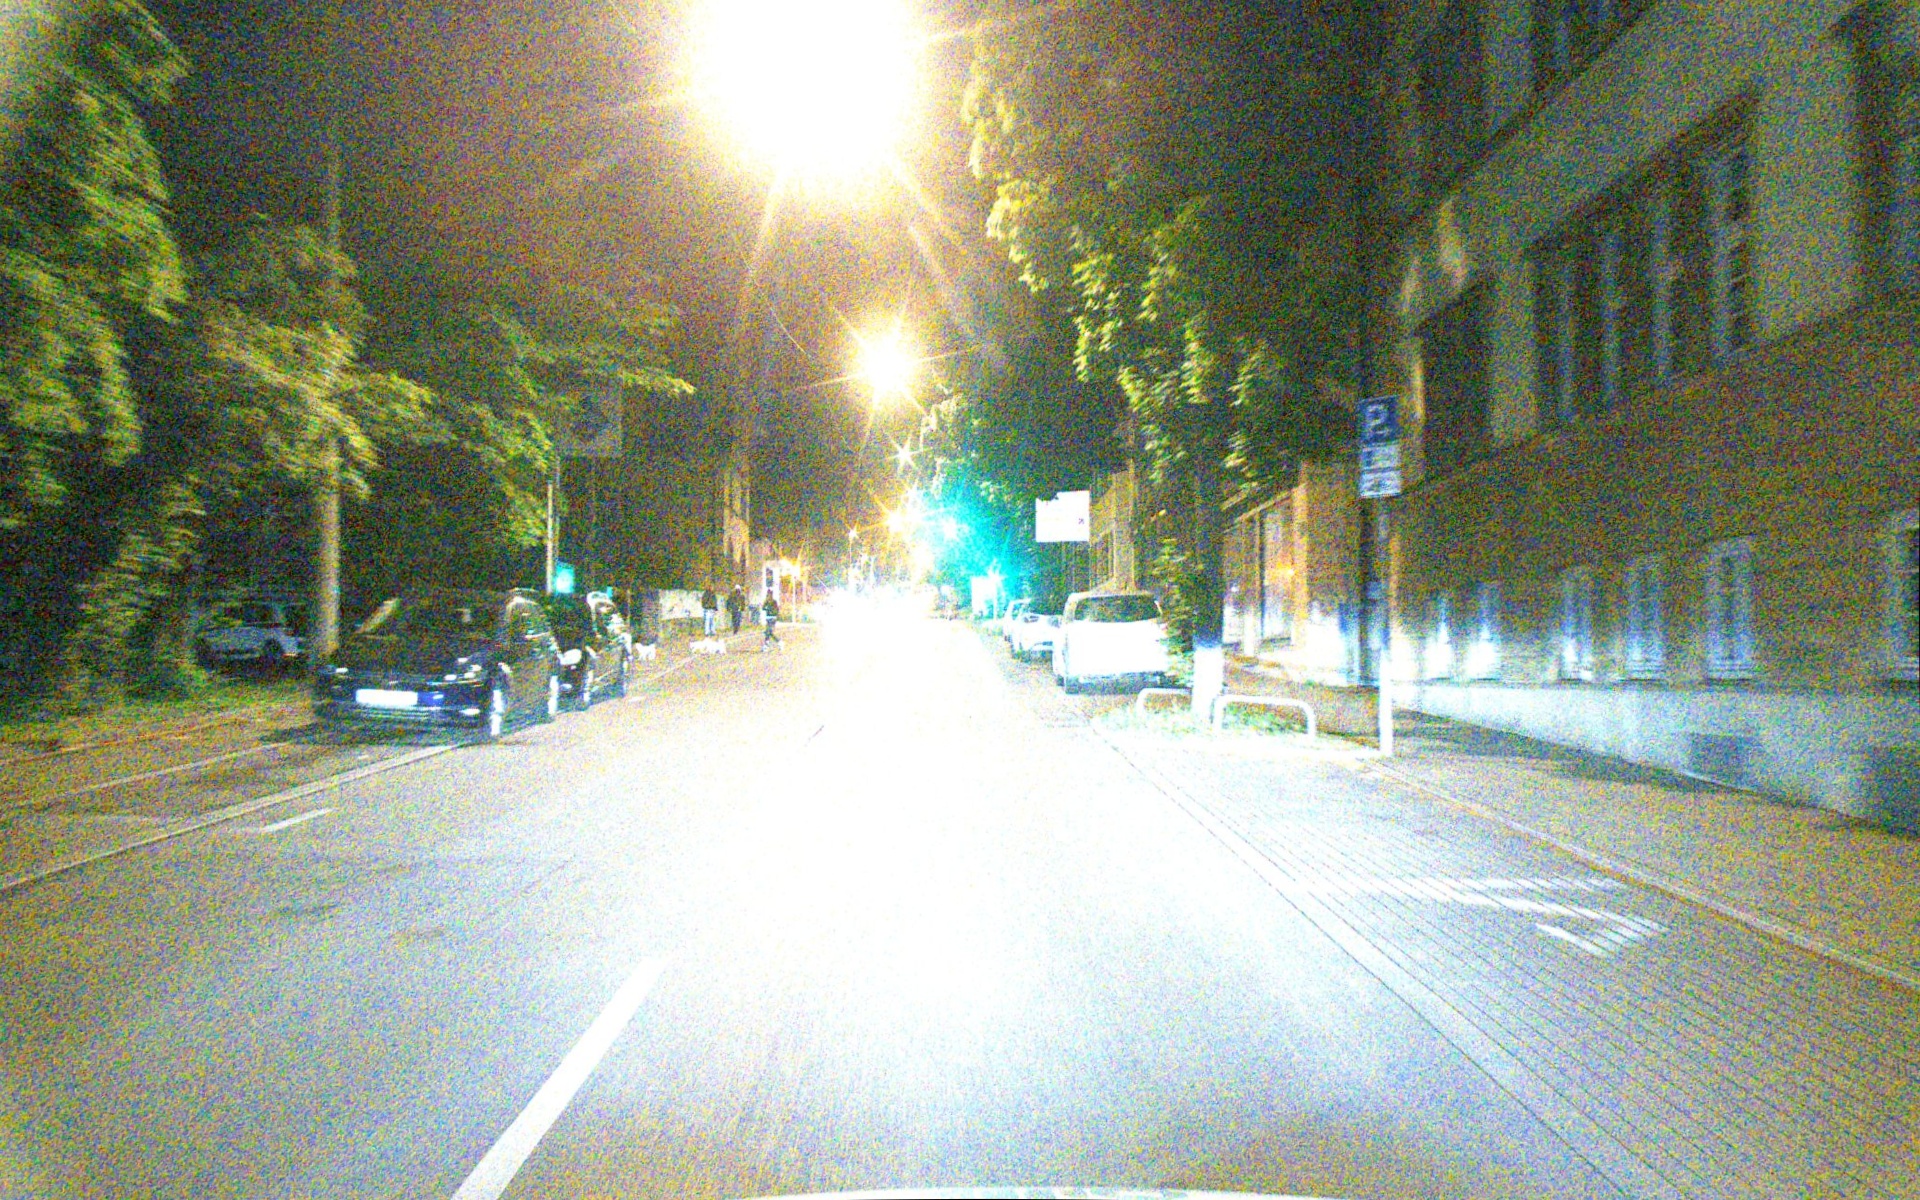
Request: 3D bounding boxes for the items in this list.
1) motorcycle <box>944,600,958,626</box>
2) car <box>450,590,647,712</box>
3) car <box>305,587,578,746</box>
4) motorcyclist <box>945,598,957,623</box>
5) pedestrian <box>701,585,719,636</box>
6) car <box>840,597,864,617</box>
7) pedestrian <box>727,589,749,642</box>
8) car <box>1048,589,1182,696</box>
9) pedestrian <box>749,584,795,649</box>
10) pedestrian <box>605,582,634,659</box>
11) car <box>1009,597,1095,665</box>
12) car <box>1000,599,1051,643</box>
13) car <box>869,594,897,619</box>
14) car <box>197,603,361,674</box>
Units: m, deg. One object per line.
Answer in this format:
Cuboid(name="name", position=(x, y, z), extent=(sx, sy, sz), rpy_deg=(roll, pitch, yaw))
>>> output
Cuboid(name="motorcycle", position=(-0.639, 0.936, 118.136), extent=(0.912, 1.783, 2.624), rpy_deg=(1, -1, -1))
Cuboid(name="car", position=(-5.566, 0.619, 22.942), extent=(1.686, 1.462, 4.808), rpy_deg=(1, 1, -2))
Cuboid(name="car", position=(-5.360, 0.628, 17.659), extent=(1.686, 1.463, 4.189), rpy_deg=(1, 0, -2))
Cuboid(name="motorcyclist", position=(-0.638, 0.754, 118.032), extent=(0.831, 1.783, 0.805), rpy_deg=(1, -1, -1))
Cuboid(name="pedestrian", position=(-8.599, 0.364, 56.870), extent=(0.559, 1.729, 0.927), rpy_deg=(1, -1, -10))
Cuboid(name="car", position=(-8.514, 0.561, 130.873), extent=(1.680, 1.483, 3.921), rpy_deg=(1, -1, -1))
Cuboid(name="pedestrian", position=(-7.695, 0.541, 57.280), extent=(0.705, 1.796, 0.602), rpy_deg=(1, -1, -9))
Cuboid(name="car", position=(2.540, 0.651, 27.965), extent=(1.775, 1.622, 4.273), rpy_deg=(-1, 0, -1))
Cuboid(name="pedestrian", position=(-5.229, 0.463, 46.048), extent=(0.752, 1.729, 0.923), rpy_deg=(3, 0, 36))
Cuboid(name="pedestrian", position=(-7.726, 0.461, 37.538), extent=(0.570, 1.729, 0.530), rpy_deg=(1, -1, -9))
Cuboid(name="car", position=(2.239, 0.722, 41.274), extent=(1.831, 1.553, 4.149), rpy_deg=(-1, 0, -1))
Cuboid(name="car", position=(2.392, 0.757, 60.859), extent=(1.596, 1.522, 3.413), rpy_deg=(1, 0, -3))
Cuboid(name="car", position=(-5.536, 0.484, 119.206), extent=(1.905, 1.747, 3.999), rpy_deg=(1, -1, -1))
Cuboid(name="car", position=(-14.987, 0.832, 36.410), extent=(3.197, 1.478, 1.790), rpy_deg=(0, -1, 32))
